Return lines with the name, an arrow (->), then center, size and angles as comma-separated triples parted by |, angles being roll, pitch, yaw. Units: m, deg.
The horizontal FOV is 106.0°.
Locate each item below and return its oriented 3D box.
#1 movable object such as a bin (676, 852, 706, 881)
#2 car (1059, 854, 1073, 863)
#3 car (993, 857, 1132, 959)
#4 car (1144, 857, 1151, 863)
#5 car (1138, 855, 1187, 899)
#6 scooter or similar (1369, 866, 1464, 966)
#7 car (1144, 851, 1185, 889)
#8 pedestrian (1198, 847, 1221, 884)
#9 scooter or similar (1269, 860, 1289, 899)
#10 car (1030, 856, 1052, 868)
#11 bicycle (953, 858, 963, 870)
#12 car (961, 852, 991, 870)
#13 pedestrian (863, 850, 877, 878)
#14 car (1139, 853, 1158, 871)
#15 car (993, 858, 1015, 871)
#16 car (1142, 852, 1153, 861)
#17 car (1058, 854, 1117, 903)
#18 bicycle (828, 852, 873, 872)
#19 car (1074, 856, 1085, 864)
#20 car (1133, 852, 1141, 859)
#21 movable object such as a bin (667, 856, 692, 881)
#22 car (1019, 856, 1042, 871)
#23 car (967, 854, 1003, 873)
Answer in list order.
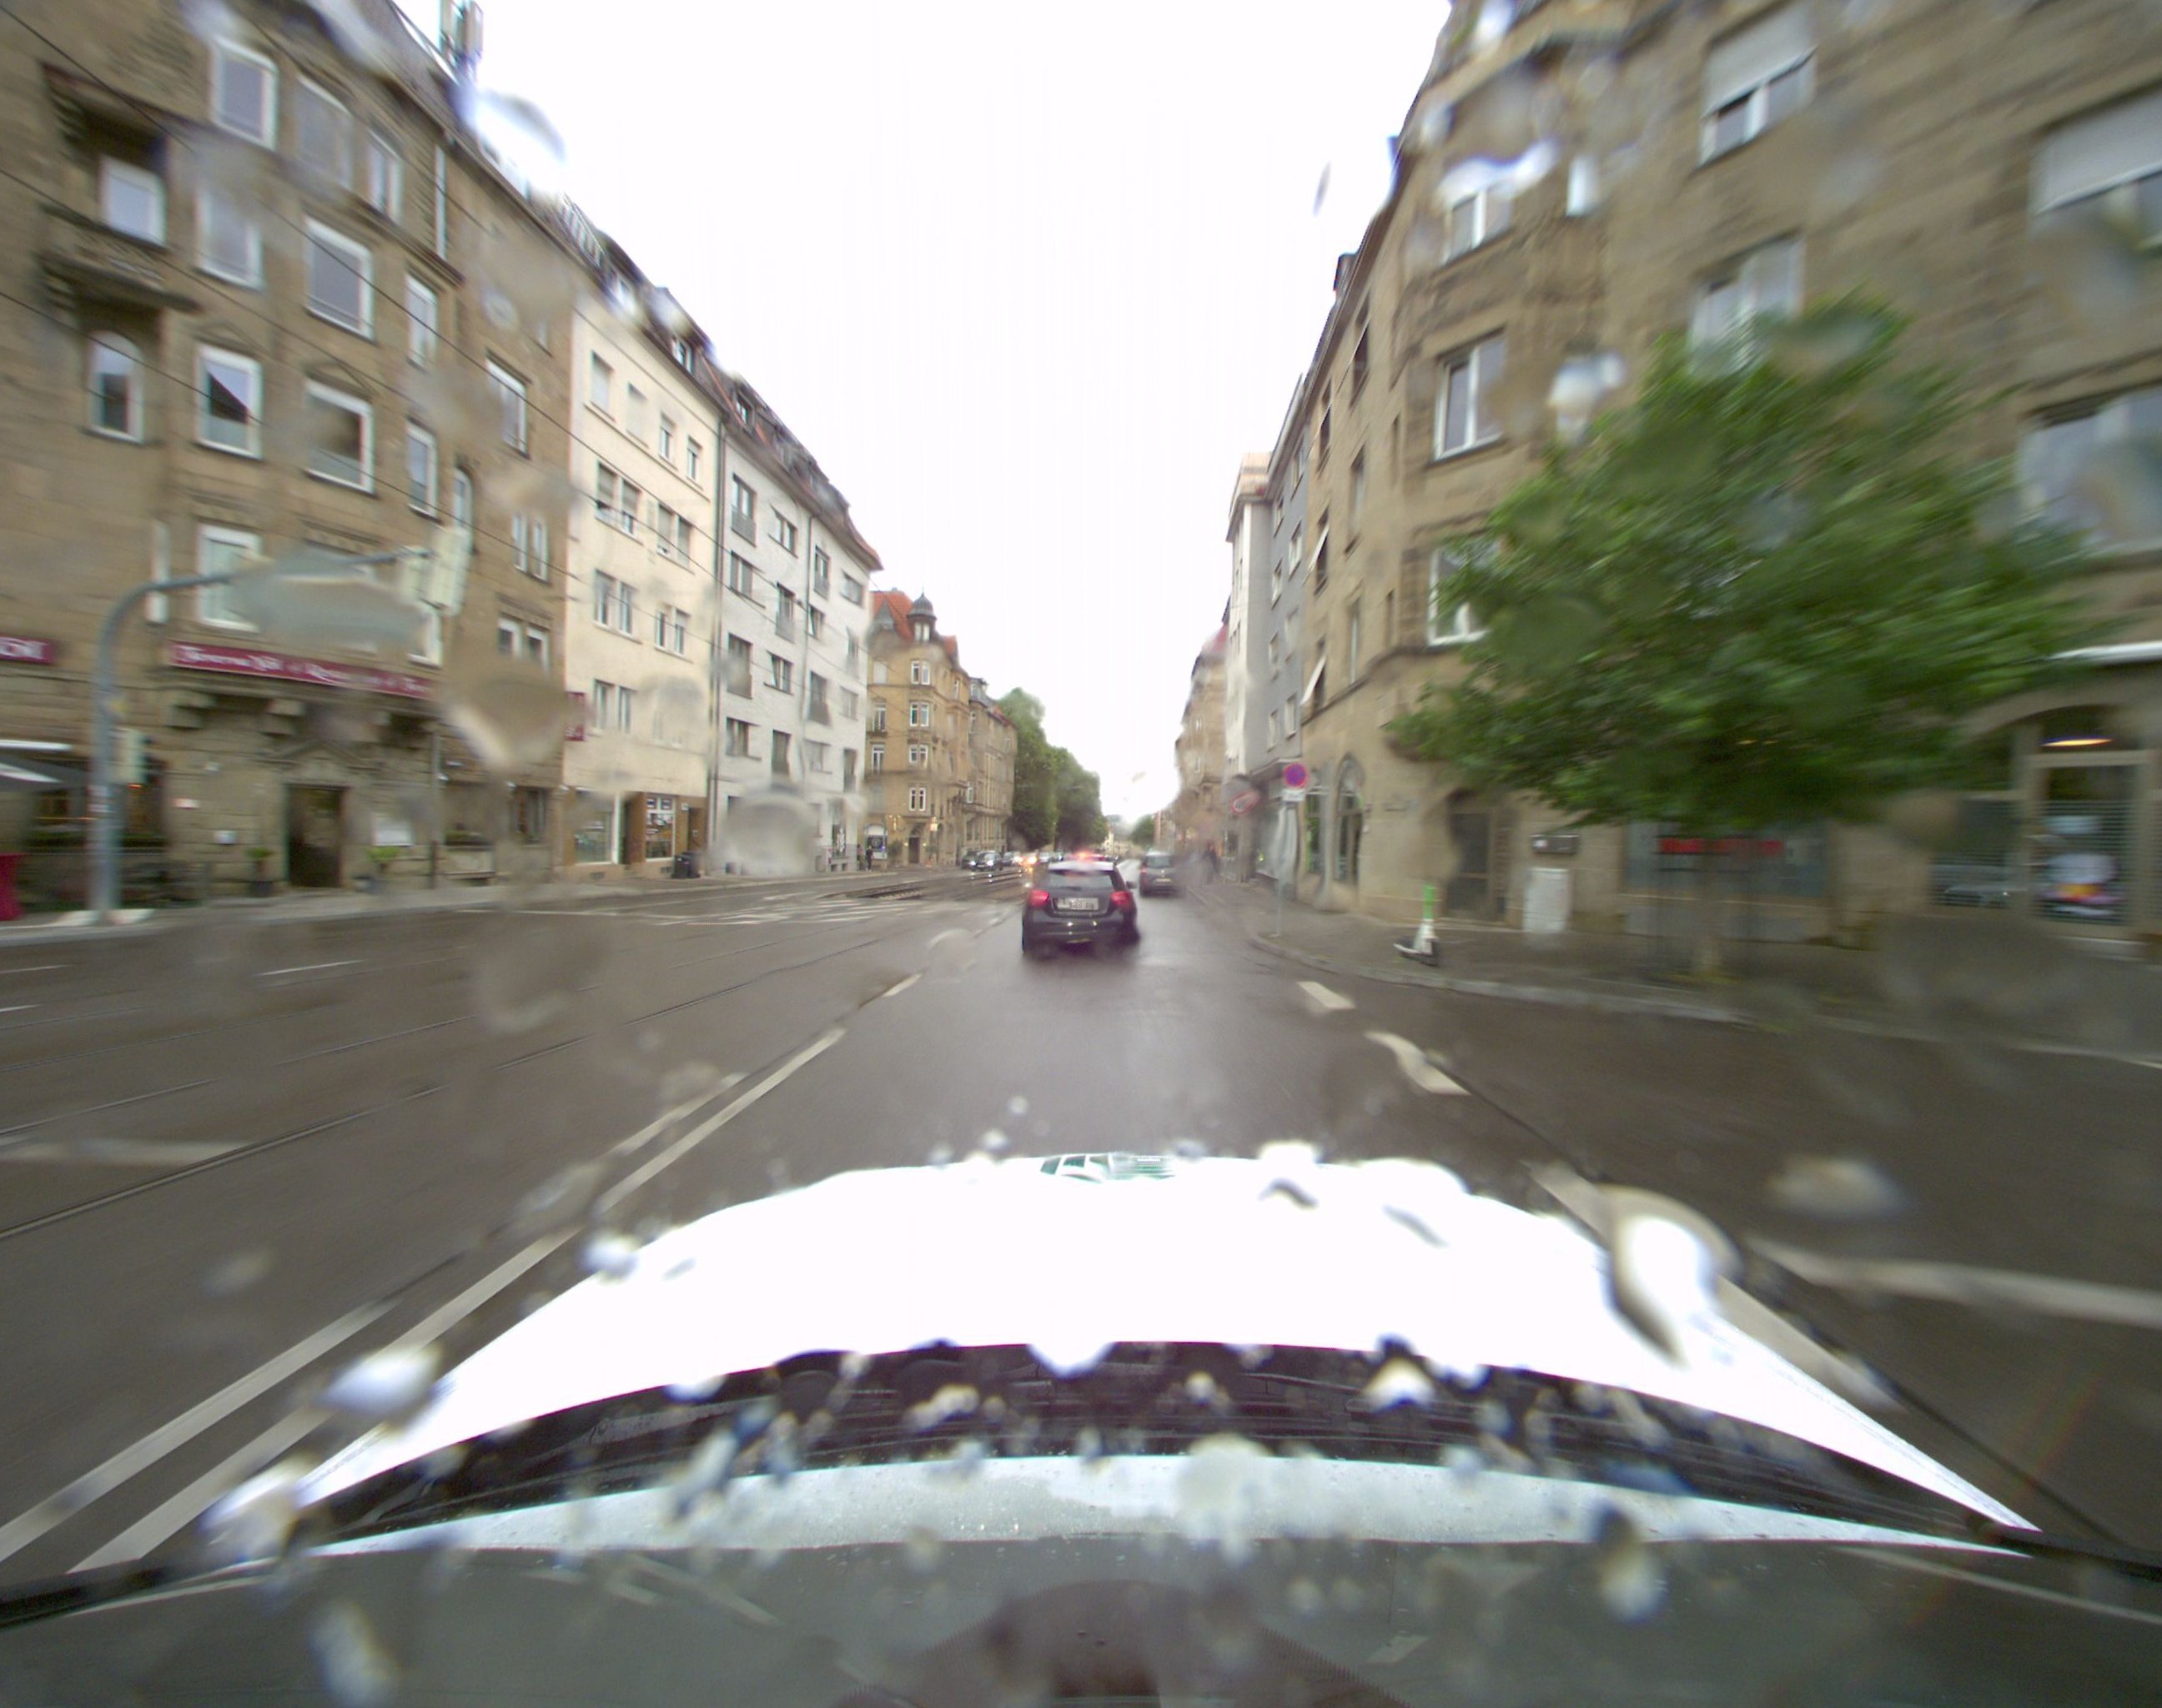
movable object such as a bin -> -15.281, 0.490, 31.911 | 0.710, 1.074, 0.688 | 4, 0, 4
car -> -2.218, 0.660, 120.593 | 1.686, 1.388, 3.487 | 0, 0, 6
car -> -0.151, 0.784, 13.886 | 1.857, 1.452, 4.007 | 0, 0, 6
car -> 14.868, 1.392, 182.753 | 1.606, 1.317, 4.005 | 2, 0, 4
car -> 3.091, 0.841, 31.457 | 1.757, 1.559, 4.751 | 0, 0, 4
scooter or similar -> 4.429, 0.780, 10.862 | 0.636, 1.210, 1.552 | 0, 0, 0
car -> 3.791, 0.694, 37.420 | 1.675, 1.670, 4.126 | 0, 0, 3
pedestrian -> 6.268, 0.536, 39.758 | 0.941, 1.769, 1.016 | 1, 0, 2
scooter or similar -> 6.381, 0.810, 26.296 | 0.393, 1.216, 1.107 | 1, 0, 2
car -> -4.520, 0.886, 93.249 | 1.797, 1.360, 4.770 | 0, 0, 5
bicycle -> -10.805, 0.881, 71.545 | 0.596, 1.000, 2.079 | 0, 0, 0
car -> -9.031, 0.573, 70.186 | 1.713, 1.541, 3.940 | 0, 0, 6
pedestrian -> -13.632, 0.645, 52.635 | 0.637, 1.787, 0.924 | 0, -2, 4
car -> 5.766, 0.670, 69.789 | 1.614, 1.485, 4.005 | 0, 0, 4
car -> -8.027, 1.046, 85.248 | 1.561, 1.316, 3.487 | 0, 0, 6
car -> 10.250, 0.372, 125.967 | 1.606, 1.317, 4.005 | 0, 0, 4
car -> 0.286, 0.741, 26.717 | 1.642, 1.452, 4.004 | 1, 0, 4
bicycle -> -18.170, 0.604, 64.321 | 3.143, 1.584, 1.594 | 0, 0, -8
car -> -0.234, 1.096, 149.620 | 1.561, 1.413, 3.487 | 0, 0, 6
car -> 10.699, 0.374, 155.489 | 1.606, 1.317, 4.005 | 0, 0, 4
movable object such as a bin -> -15.419, 0.565, 31.272 | 0.591, 0.911, 0.561 | 4, 0, 4
car -> -5.000, 0.909, 80.978 | 1.671, 1.497, 3.526 | 0, 0, 8
car -> -7.273, 0.740, 62.204 | 1.939, 1.397, 4.279 | 0, 0, 5
